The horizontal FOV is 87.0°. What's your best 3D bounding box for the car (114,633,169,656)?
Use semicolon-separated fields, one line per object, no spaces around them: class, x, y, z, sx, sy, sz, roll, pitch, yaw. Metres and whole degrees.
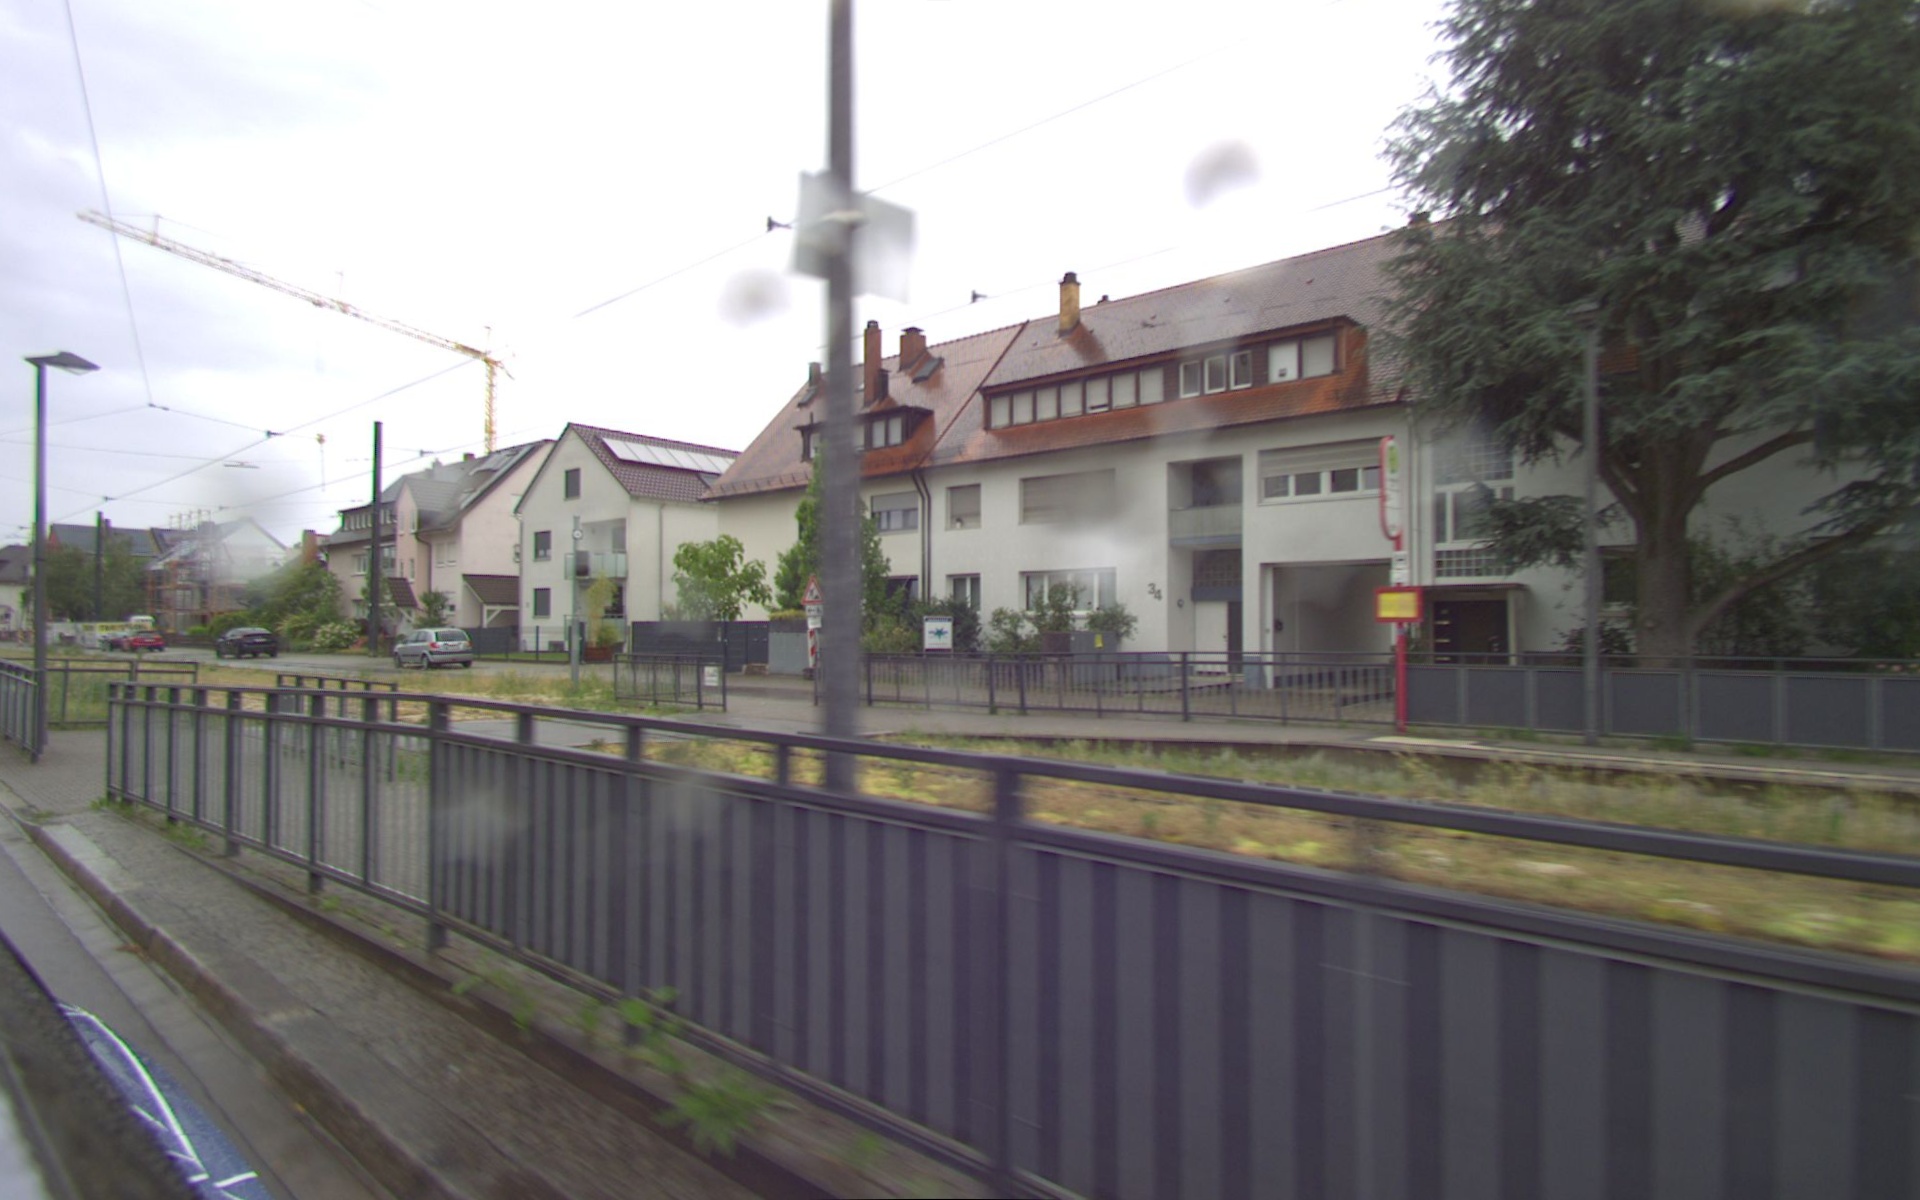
car;-52.635;2.841;65.056;3.839;1.383;1.974;-1;-1;39

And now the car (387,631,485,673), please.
car;-19.662;1.919;37.927;3.653;1.424;1.974;-1;-1;38

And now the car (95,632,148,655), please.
car;-56.792;2.970;68.532;4.169;1.420;1.974;-3;-2;38

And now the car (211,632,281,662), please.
car;-36.488;2.392;51.690;4.169;1.437;1.819;-2;-2;39
